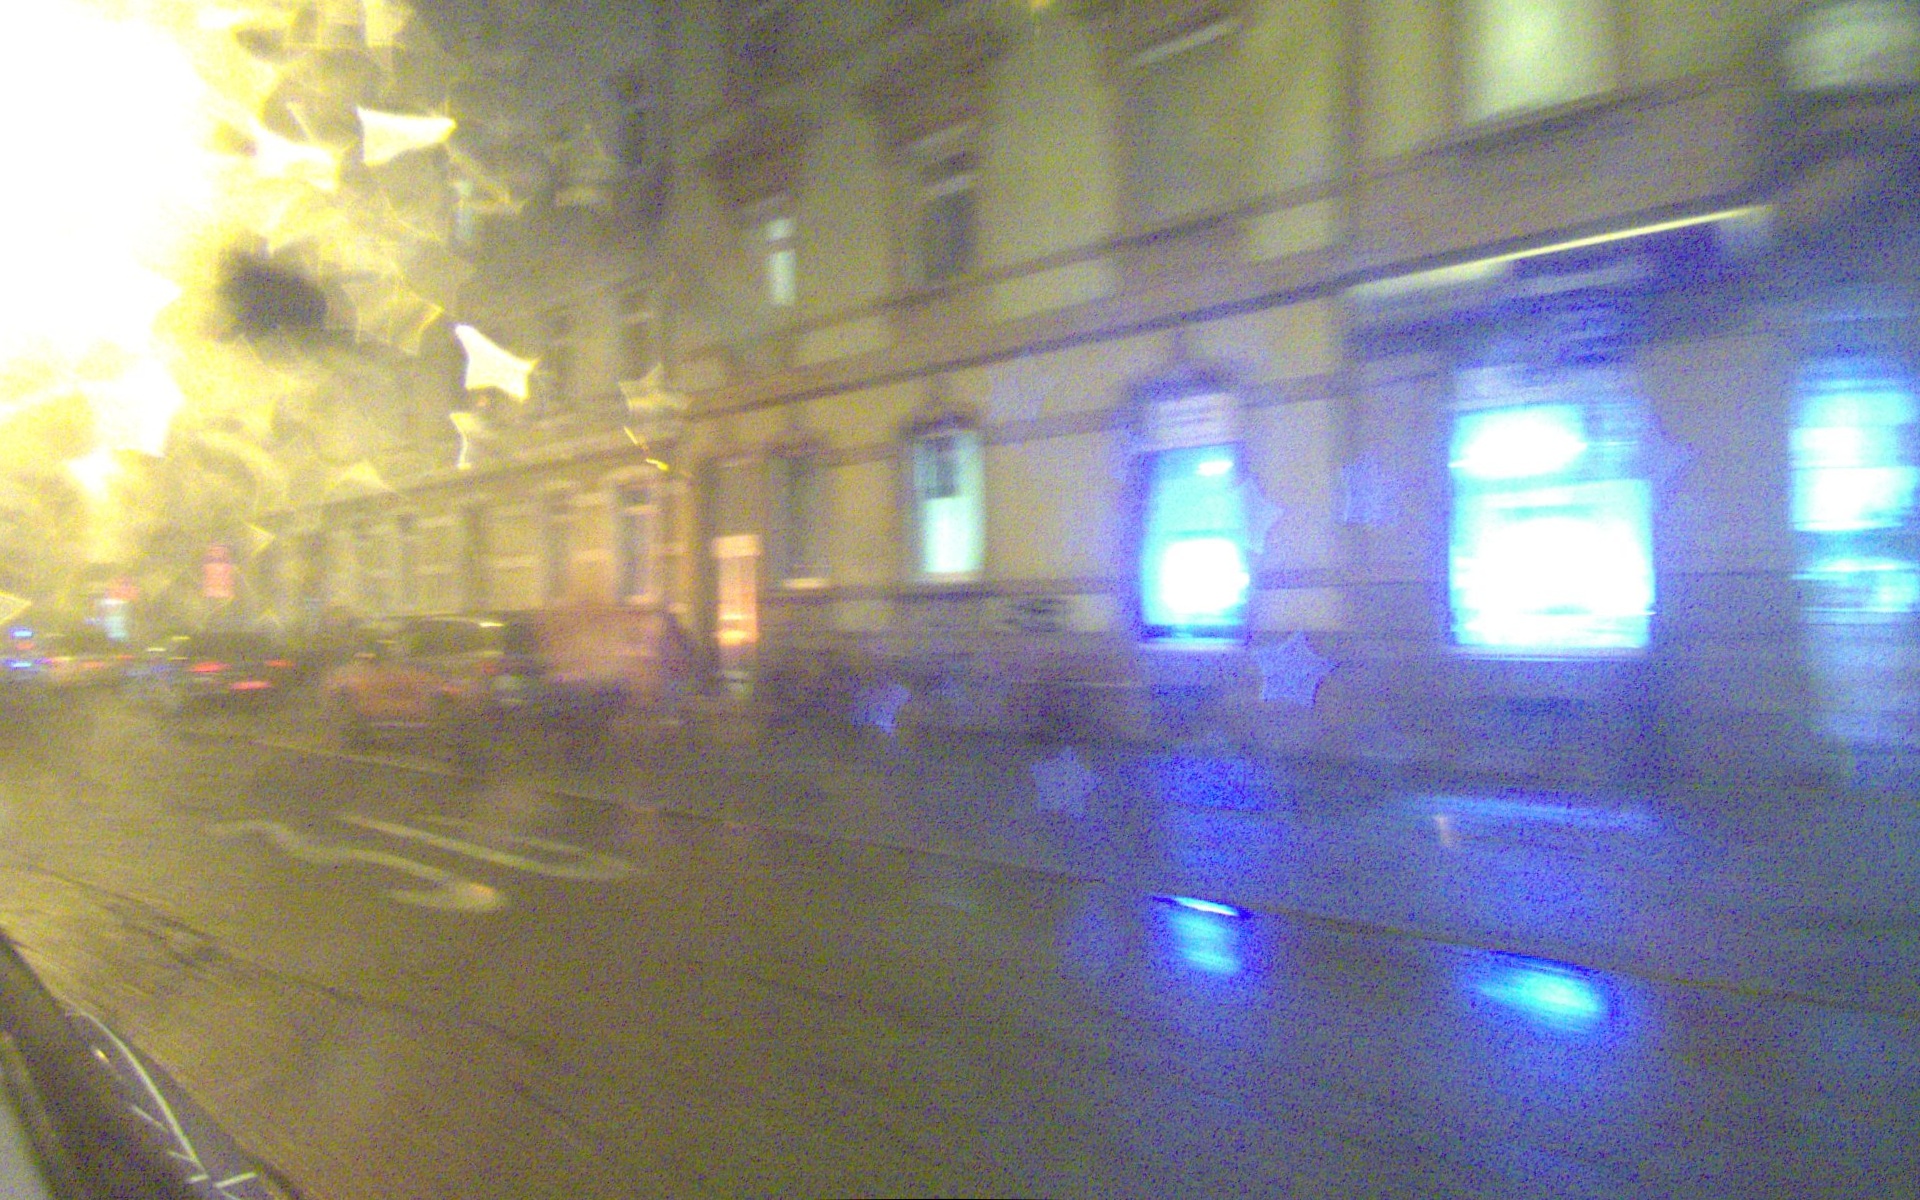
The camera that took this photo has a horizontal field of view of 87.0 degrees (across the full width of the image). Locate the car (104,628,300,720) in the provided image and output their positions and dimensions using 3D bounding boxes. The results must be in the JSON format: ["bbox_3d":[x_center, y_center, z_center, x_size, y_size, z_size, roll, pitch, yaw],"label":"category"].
[{"bbox_3d":[-14.290,1.311,18.986,4.588,1.497,1.815,-2,-1,38],"label":"car"}]

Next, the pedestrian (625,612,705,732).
[{"bbox_3d":[-4.041,0.970,13.882,0.758,1.564,0.653,-2,1,23],"label":"pedestrian"}]

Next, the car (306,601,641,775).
[{"bbox_3d":[-6.022,0.944,12.292,4.588,1.730,1.815,-2,-1,38],"label":"car"}]

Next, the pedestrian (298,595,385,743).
[{"bbox_3d":[-8.674,0.937,14.199,0.656,1.988,0.762,-2,1,31],"label":"pedestrian"}]

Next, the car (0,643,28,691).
[{"bbox_3d":[-29.979,2.022,30.709,4.419,1.400,1.805,-2,-1,38],"label":"car"}]

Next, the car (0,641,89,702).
[{"bbox_3d":[-25.652,1.898,27.809,4.300,1.492,1.815,-2,-1,38],"label":"car"}]

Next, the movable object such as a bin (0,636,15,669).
[{"bbox_3d":[-43.251,2.365,45.313,1.376,1.465,1.091,-2,-2,36],"label":"movable object such as a bin"}]

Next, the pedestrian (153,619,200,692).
[{"bbox_3d":[-20.349,1.419,26.292,0.986,1.817,0.735,-1,1,41],"label":"pedestrian"}]

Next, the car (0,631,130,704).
[{"bbox_3d":[-21.888,1.589,24.721,3.760,1.600,1.729,-2,-1,38],"label":"car"}]
